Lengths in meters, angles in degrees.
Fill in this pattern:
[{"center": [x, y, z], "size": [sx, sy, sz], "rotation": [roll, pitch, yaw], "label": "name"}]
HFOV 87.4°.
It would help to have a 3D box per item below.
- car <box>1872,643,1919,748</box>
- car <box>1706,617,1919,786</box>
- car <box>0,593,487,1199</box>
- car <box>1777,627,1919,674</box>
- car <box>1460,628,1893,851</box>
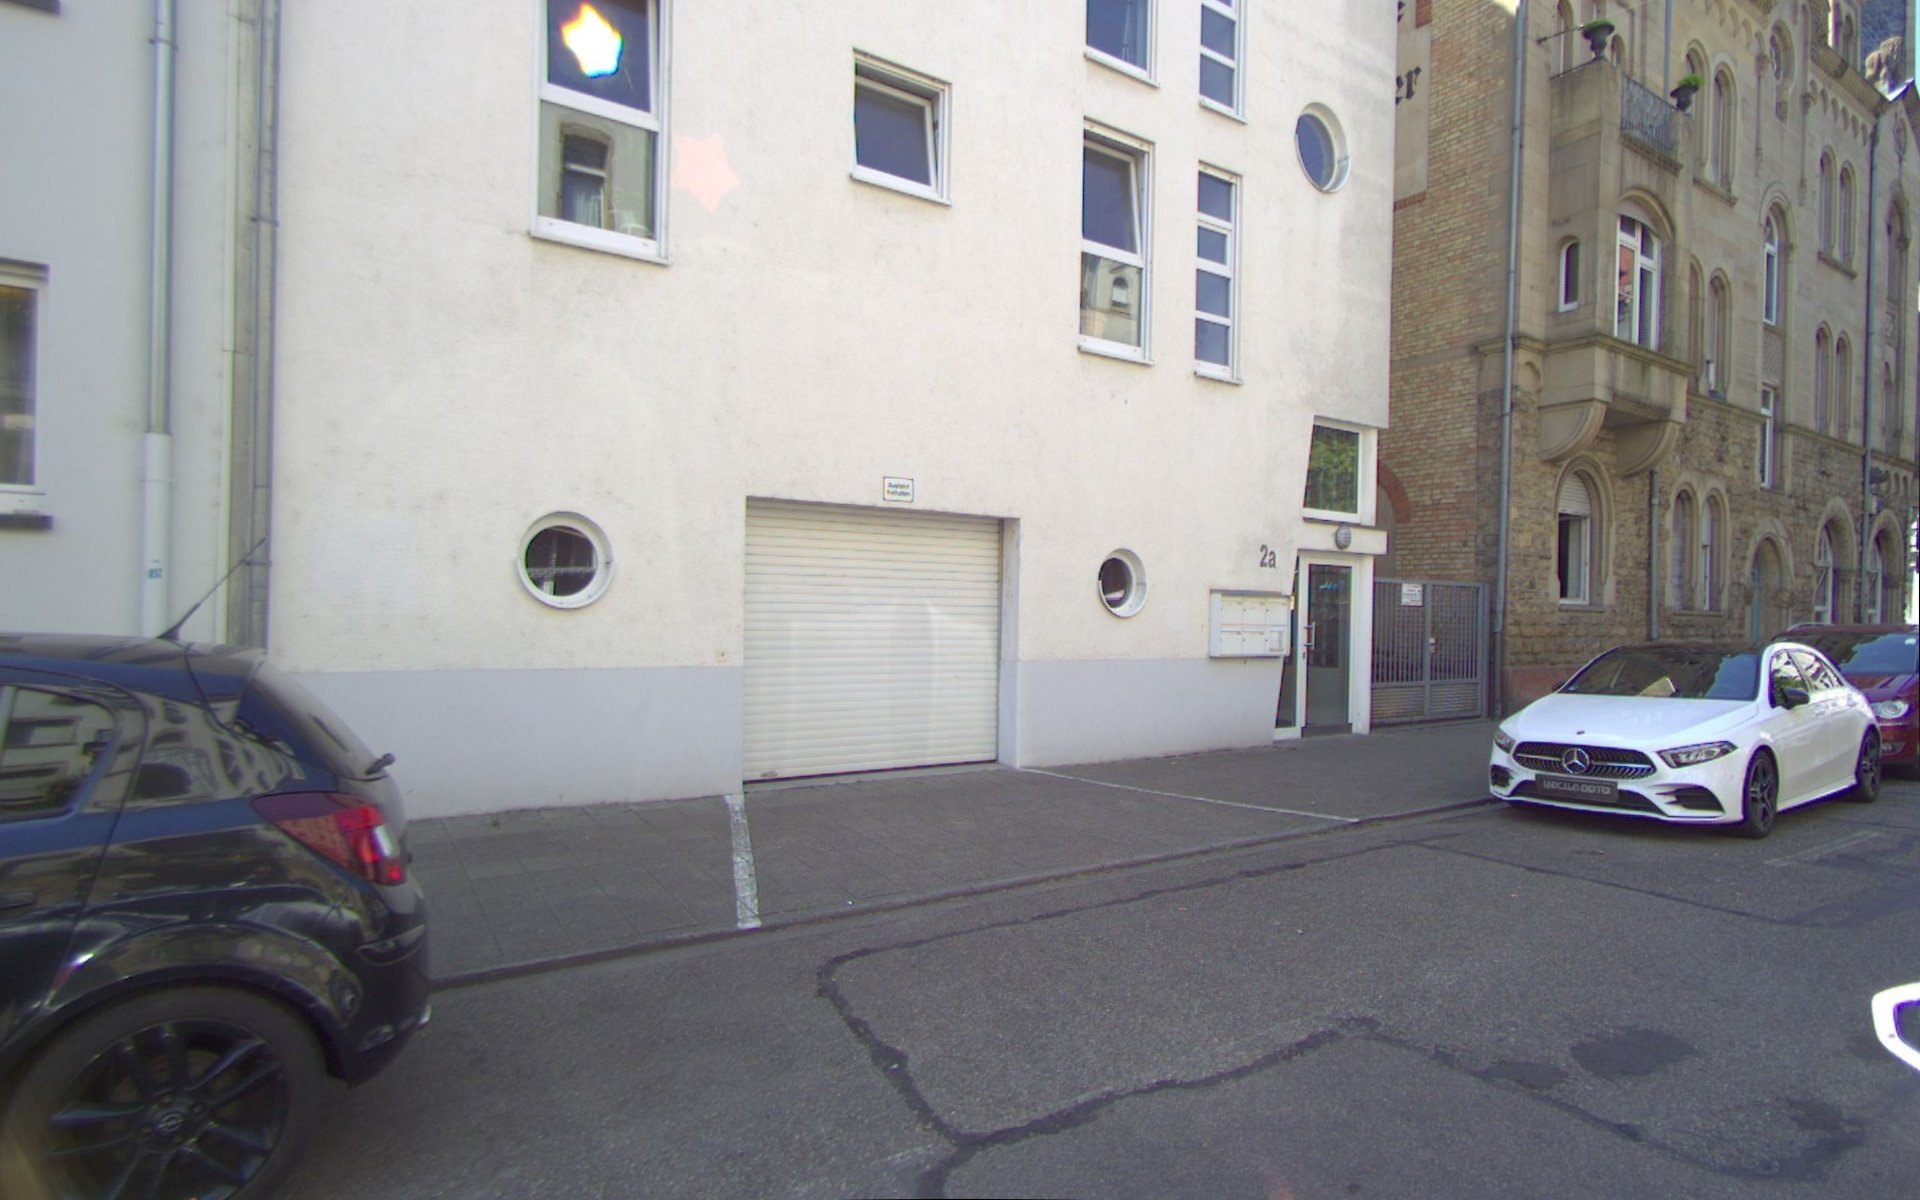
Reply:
[{"center": [14.555, 1.289, 14.126], "size": [4.472, 1.370, 1.690], "rotation": [2, -3, -36], "label": "car"}, {"center": [10.205, 1.038, 11.367], "size": [4.013, 1.603, 1.661], "rotation": [2, -3, -35], "label": "car"}, {"center": [-3.313, 0.747, 2.296], "size": [3.853, 1.511, 1.558], "rotation": [2, -3, -34], "label": "car"}, {"center": [32.765, 1.801, 36.856], "size": [1.788, 1.583, 4.021], "rotation": [1, -1, -34], "label": "car"}, {"center": [6.284, 1.007, 8.661], "size": [4.237, 1.479, 1.765], "rotation": [2, -3, -36], "label": "car"}]
